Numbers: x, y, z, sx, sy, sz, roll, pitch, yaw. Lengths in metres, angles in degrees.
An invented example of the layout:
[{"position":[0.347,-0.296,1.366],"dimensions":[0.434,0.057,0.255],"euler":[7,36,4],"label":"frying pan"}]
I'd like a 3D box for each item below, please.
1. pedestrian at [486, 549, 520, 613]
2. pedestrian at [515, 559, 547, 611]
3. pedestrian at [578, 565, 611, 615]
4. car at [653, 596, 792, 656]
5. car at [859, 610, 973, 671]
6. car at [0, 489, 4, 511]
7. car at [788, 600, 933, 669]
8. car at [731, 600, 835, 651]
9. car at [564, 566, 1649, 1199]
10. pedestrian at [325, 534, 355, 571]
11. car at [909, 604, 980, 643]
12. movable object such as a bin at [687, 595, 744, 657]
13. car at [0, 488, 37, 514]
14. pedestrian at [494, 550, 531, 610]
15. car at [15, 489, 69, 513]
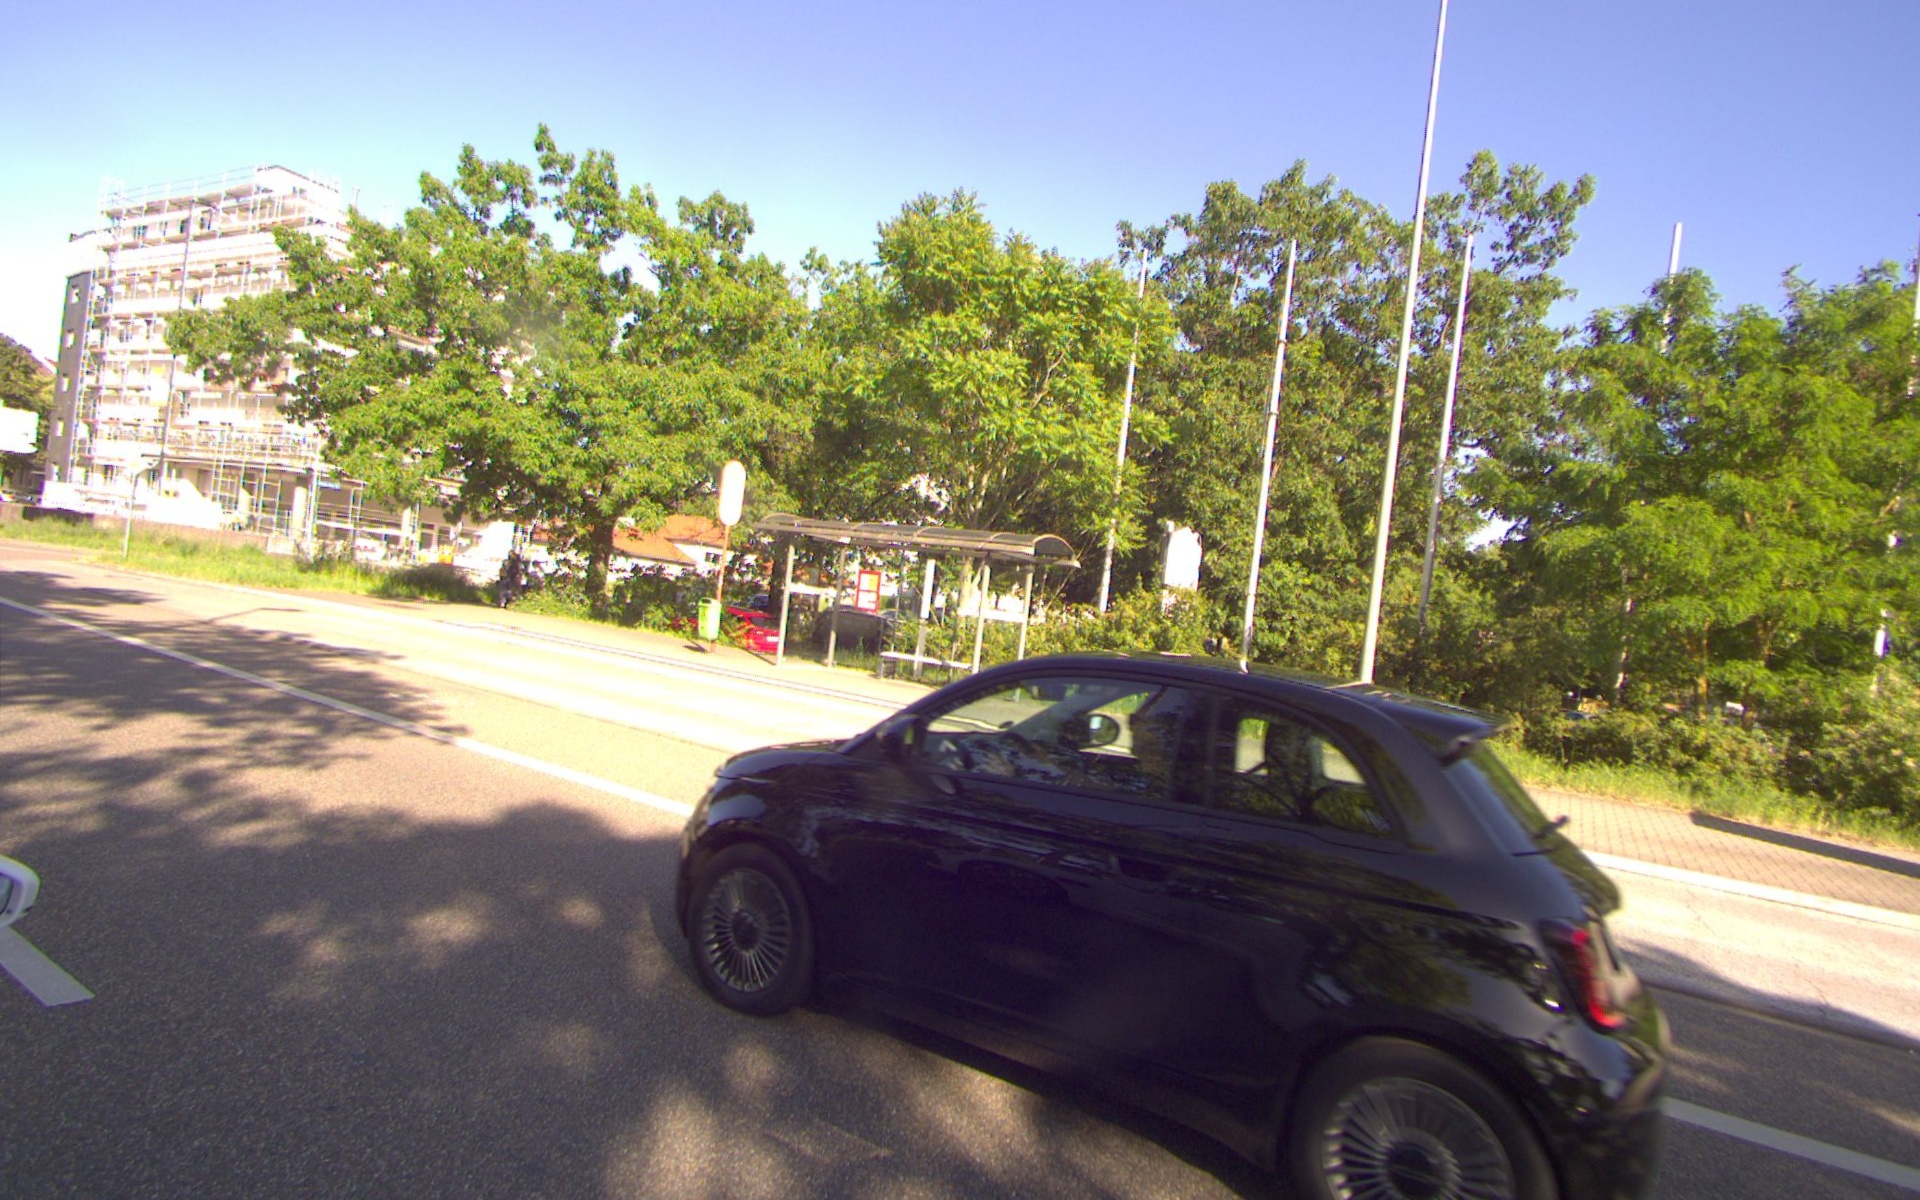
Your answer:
[{"position":[-12.874,-0.536,28.348],"dimensions":[0.403,1.721,0.603],"euler":[7,1,31],"label":"pedestrian"},{"position":[-13.326,-0.470,31.240],"dimensions":[0.604,1.537,0.528],"euler":[7,0,35],"label":"pedestrian"},{"position":[-12.907,-0.343,35.522],"dimensions":[0.557,1.638,0.705],"euler":[6,-1,26],"label":"pedestrian"},{"position":[-6.778,0.730,28.600],"dimensions":[3.846,1.168,1.399],"euler":[7,0,31],"label":"car"},{"position":[-1.707,1.550,38.762],"dimensions":[3.938,1.835,1.846],"euler":[6,-2,36],"label":"car"},{"position":[-64.729,-6.794,65.978],"dimensions":[1.759,1.460,3.595],"euler":[8,-1,-25],"label":"car"},{"position":[-3.585,1.220,35.789],"dimensions":[4.811,1.556,1.996],"euler":[9,-1,35],"label":"car"},{"position":[-7.527,1.083,42.638],"dimensions":[3.938,1.626,1.995],"euler":[6,-2,35],"label":"car"},{"position":[0.386,0.862,3.885],"dimensions":[3.502,1.521,1.677],"euler":[7,0,31],"label":"car"},{"position":[-28.420,-2.172,46.088],"dimensions":[0.892,1.515,0.651],"euler":[7,0,24],"label":"pedestrian"},{"position":[-1.063,1.604,68.528],"dimensions":[4.283,2.098,1.995],"euler":[7,0,35],"label":"car"},{"position":[-4.510,0.487,18.576],"dimensions":[0.568,1.042,0.727],"euler":[7,0,31],"label":"movable object such as a bin"},{"position":[-66.726,-7.007,70.461],"dimensions":[1.802,1.526,3.976],"euler":[7,0,-24],"label":"car"},{"position":[-12.947,-0.578,29.082],"dimensions":[0.542,1.654,0.622],"euler":[7,1,32],"label":"pedestrian"},{"position":[-83.949,-9.058,92.016],"dimensions":[3.925,1.613,1.911],"euler":[7,0,19],"label":"car"}]
